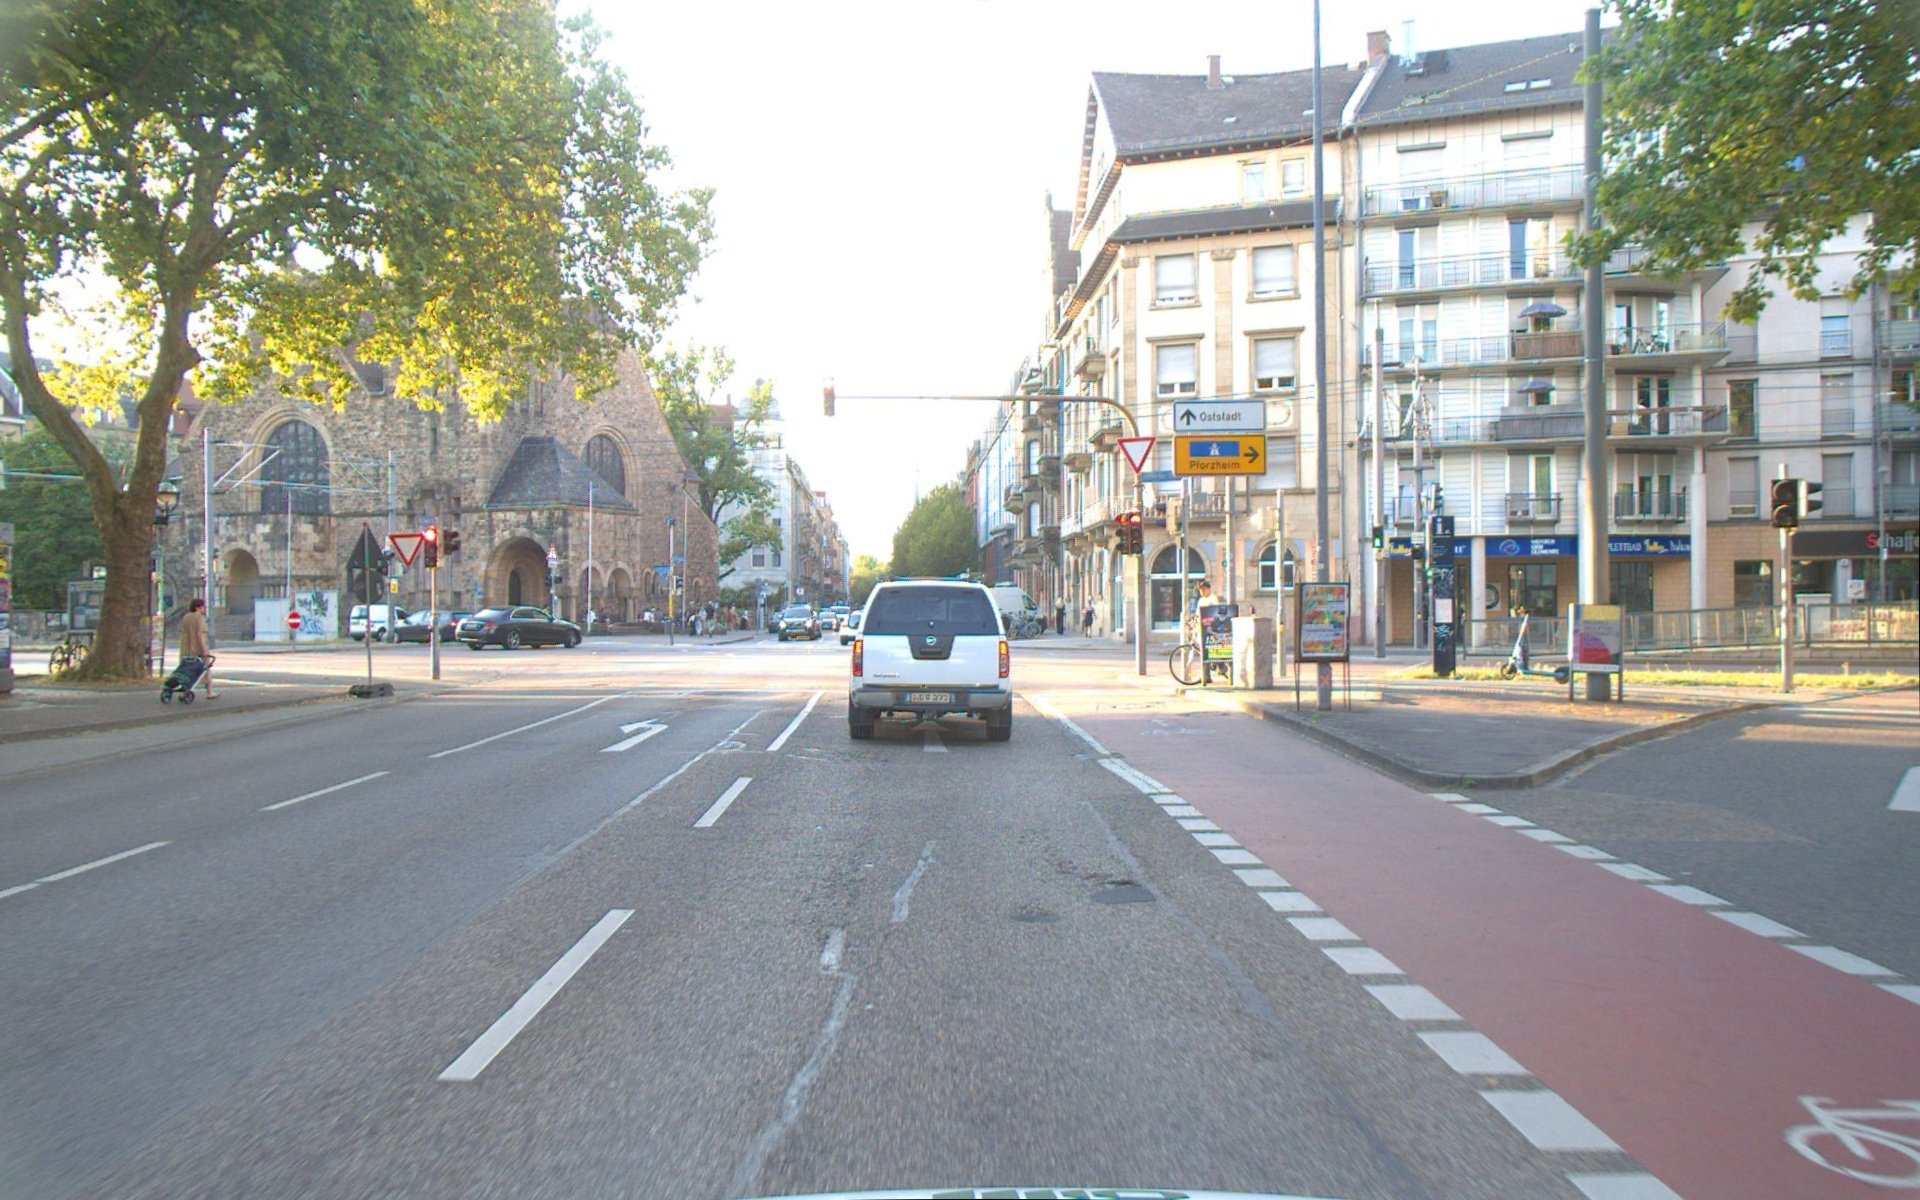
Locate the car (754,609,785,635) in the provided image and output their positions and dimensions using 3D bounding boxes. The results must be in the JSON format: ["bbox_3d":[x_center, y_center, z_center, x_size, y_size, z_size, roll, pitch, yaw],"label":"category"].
[{"bbox_3d":[-12.485,1.437,108.464,1.955,1.680,3.816,1,0,-6],"label":"car"}]

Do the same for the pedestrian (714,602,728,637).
[{"bbox_3d":[-13.077,1.064,90.381,0.640,1.920,0.586,0,0,4],"label":"pedestrian"}]

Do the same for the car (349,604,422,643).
[{"bbox_3d":[-29.997,1.209,86.473,1.673,1.943,3.493,-1,0,25],"label":"car"}]

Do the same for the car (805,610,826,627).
[{"bbox_3d":[-13.641,1.723,155.982,1.955,1.533,3.816,1,0,-6],"label":"car"}]

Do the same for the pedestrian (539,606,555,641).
[{"bbox_3d":[-19.355,1.102,77.480,0.544,1.612,0.549,0,0,9],"label":"pedestrian"}]

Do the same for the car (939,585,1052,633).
[{"bbox_3d":[1.800,0.420,81.788,5.772,2.328,2.041,0,0,-42],"label":"car"}]

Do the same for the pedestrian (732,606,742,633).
[{"bbox_3d":[-16.054,1.376,119.159,0.540,1.920,0.596,0,0,13],"label":"pedestrian"}]

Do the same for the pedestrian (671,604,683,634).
[{"bbox_3d":[-18.307,1.244,106.986,0.581,1.920,0.553,-1,0,22],"label":"pedestrian"}]

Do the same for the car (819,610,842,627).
[{"bbox_3d":[-11.773,1.678,149.700,1.955,1.533,3.816,1,0,-6],"label":"car"}]

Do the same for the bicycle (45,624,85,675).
[{"bbox_3d":[-19.428,1.066,35.896,0.539,1.062,1.897,0,0,-36],"label":"bicycle"}]

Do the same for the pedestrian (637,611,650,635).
[{"bbox_3d":[-17.587,1.262,91.918,0.560,1.313,0.486,0,0,13],"label":"pedestrian"}]

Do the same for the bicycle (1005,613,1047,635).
[{"bbox_3d":[3.007,1.104,75.230,1.875,0.985,0.546,0,0,0],"label":"bicycle"}]

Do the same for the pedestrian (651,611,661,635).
[{"bbox_3d":[-16.882,1.275,91.815,0.481,1.309,0.499,0,0,-2],"label":"pedestrian"}]

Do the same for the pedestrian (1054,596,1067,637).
[{"bbox_3d":[4.787,0.772,78.814,0.581,1.920,0.648,0,0,4],"label":"pedestrian"}]

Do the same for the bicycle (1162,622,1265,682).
[{"bbox_3d":[4.336,0.882,28.311,1.658,0.985,0.545,0,0,-5],"label":"bicycle"}]

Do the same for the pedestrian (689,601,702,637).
[{"bbox_3d":[-14.419,1.035,90.229,0.581,1.920,0.553,0,0,2],"label":"pedestrian"}]

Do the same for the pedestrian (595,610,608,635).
[{"bbox_3d":[-18.806,1.199,86.772,0.487,1.309,0.493,0,0,18],"label":"pedestrian"}]

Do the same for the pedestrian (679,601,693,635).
[{"bbox_3d":[-15.537,1.043,93.908,0.580,1.920,0.585,0,0,16],"label":"pedestrian"}]

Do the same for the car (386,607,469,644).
[{"bbox_3d":[-26.924,1.280,83.656,3.715,1.837,1.713,0,0,20],"label":"car"}]

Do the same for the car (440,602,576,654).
[{"bbox_3d":[-15.288,0.928,56.166,1.958,1.680,4.254,-1,0,33],"label":"car"}]

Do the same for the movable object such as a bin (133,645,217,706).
[{"bbox_3d":[-12.203,1.165,25.720,0.722,0.906,0.983,0,0,13],"label":"movable object such as a bin"}]

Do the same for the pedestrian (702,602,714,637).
[{"bbox_3d":[-13.743,1.049,90.238,0.581,1.920,0.553,0,0,2],"label":"pedestrian"}]

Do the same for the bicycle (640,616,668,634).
[{"bbox_3d":[-17.187,1.399,92.847,1.467,0.985,0.395,0,0,10],"label":"bicycle"}]

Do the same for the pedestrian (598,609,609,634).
[{"bbox_3d":[-18.837,1.127,87.288,0.490,1.303,0.489,0,0,-22],"label":"pedestrian"}]

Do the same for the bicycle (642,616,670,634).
[{"bbox_3d":[-17.118,1.405,93.181,1.467,0.985,0.395,0,0,10],"label":"bicycle"}]

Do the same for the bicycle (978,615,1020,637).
[{"bbox_3d":[1.791,1.204,75.960,1.879,0.985,0.545,0,0,-8],"label":"bicycle"}]

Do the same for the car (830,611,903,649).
[{"bbox_3d":[-4.027,1.295,72.236,1.951,1.557,4.647,0,0,13],"label":"car"}]

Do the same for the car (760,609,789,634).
[{"bbox_3d":[-12.998,1.487,116.189,1.955,1.680,3.816,1,0,-6],"label":"car"}]

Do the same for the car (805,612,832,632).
[{"bbox_3d":[-10.901,1.682,126.921,1.955,1.533,3.816,1,0,-6],"label":"car"}]

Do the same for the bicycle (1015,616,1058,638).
[{"bbox_3d":[3.522,1.240,76.284,1.874,0.985,0.546,0,0,16],"label":"bicycle"}]

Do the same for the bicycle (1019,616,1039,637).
[{"bbox_3d":[3.247,1.243,77.650,0.532,0.985,1.922,0,0,15],"label":"bicycle"}]

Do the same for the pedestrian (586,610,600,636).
[{"bbox_3d":[-19.455,1.208,87.641,0.560,1.343,0.486,0,0,13],"label":"pedestrian"}]

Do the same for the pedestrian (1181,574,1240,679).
[{"bbox_3d":[4.359,0.453,28.813,0.781,1.799,0.718,0,0,-16],"label":"pedestrian"}]

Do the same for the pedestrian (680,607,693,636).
[{"bbox_3d":[-17.956,1.428,108.585,0.581,1.920,0.553,-1,0,21],"label":"pedestrian"}]

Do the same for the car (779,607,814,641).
[{"bbox_3d":[-8.589,1.246,86.549,1.747,1.680,3.816,1,0,-6],"label":"car"}]

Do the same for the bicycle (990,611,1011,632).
[{"bbox_3d":[1.937,1.018,78.073,0.532,0.985,1.922,0,0,15],"label":"bicycle"}]

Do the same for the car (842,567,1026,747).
[{"bbox_3d":[-0.194,0.618,19.450,1.827,1.846,4.001,2,-1,3],"label":"car"}]

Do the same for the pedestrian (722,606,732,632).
[{"bbox_3d":[-16.685,1.359,118.575,0.545,1.920,0.590,0,0,-25],"label":"pedestrian"}]

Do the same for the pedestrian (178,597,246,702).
[{"bbox_3d":[-11.989,0.790,26.511,0.722,1.657,0.686,0,0,13],"label":"pedestrian"}]

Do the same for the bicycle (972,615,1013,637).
[{"bbox_3d":[1.506,1.204,76.769,1.875,0.985,0.546,0,0,0],"label":"bicycle"}]

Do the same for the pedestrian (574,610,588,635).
[{"bbox_3d":[-19.817,1.186,86.572,0.560,1.313,0.486,0,0,13],"label":"pedestrian"}]

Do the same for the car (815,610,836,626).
[{"bbox_3d":[-13.085,1.770,160.756,1.955,1.533,3.816,1,0,-6],"label":"car"}]

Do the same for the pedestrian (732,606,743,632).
[{"bbox_3d":[-16.117,1.380,119.845,0.547,1.920,0.588,0,0,-36],"label":"pedestrian"}]

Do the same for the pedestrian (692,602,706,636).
[{"bbox_3d":[-14.816,1.054,93.774,0.580,1.920,0.554,0,0,15],"label":"pedestrian"}]

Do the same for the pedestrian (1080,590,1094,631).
[{"bbox_3d":[5.488,0.452,71.418,0.581,1.799,0.653,0,0,4],"label":"pedestrian"}]

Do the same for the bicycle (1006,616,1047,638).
[{"bbox_3d":[3.041,1.223,75.508,1.875,0.985,0.546,0,0,0],"label":"bicycle"}]

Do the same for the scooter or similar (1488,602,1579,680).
[{"bbox_3d":[9.626,0.673,27.796,0.540,1.272,1.371,0,0,-38],"label":"scooter or similar"}]
